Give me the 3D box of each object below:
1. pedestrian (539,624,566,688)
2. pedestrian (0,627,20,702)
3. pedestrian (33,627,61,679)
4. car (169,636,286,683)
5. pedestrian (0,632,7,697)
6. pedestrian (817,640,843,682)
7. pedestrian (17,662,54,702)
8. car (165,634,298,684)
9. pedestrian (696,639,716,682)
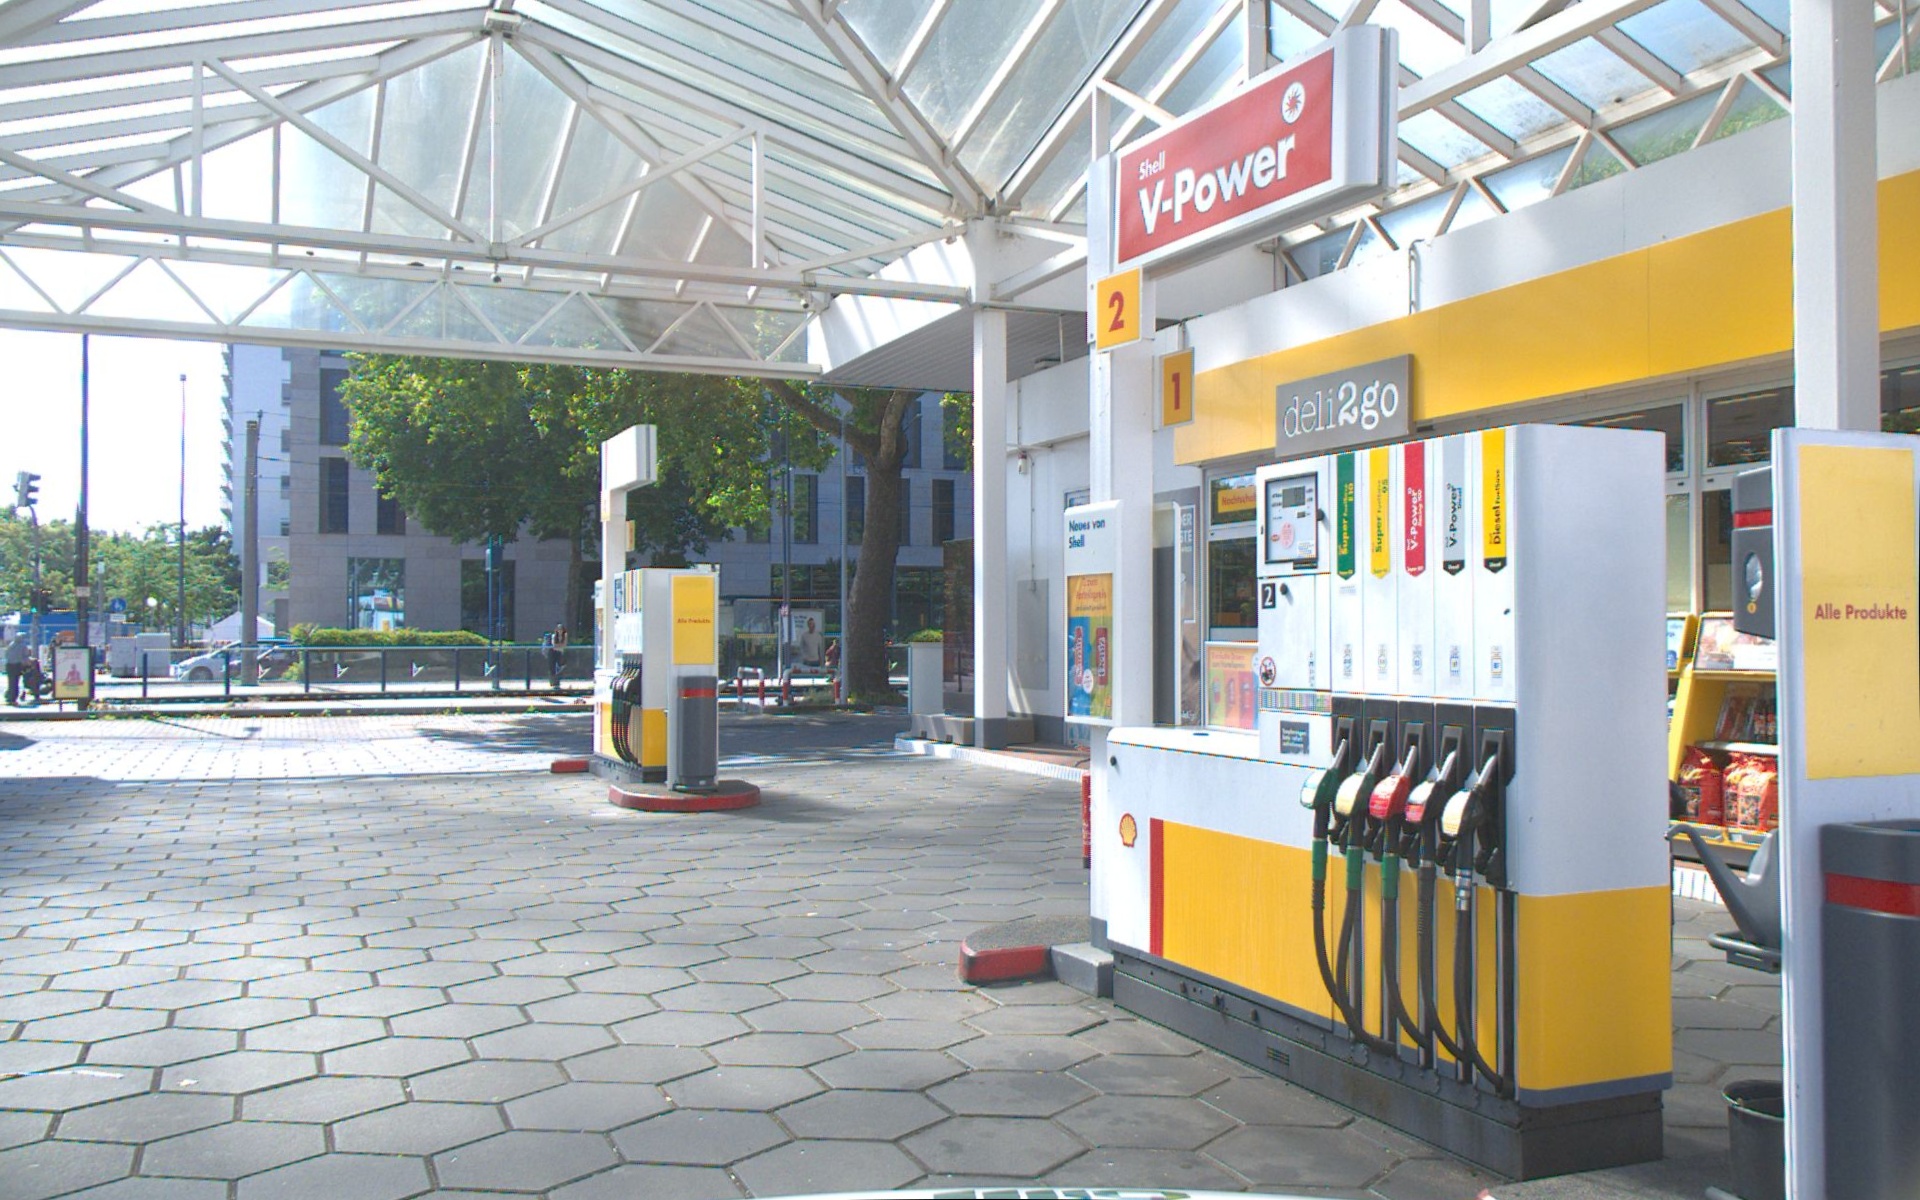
[{"bbox_3d":[-10.589,1.450,42.968,0.576,1.619,0.665,0,0,-24],"label":"pedestrian"},{"bbox_3d":[-21.942,1.473,37.763,0.771,1.712,0.496,1,-2,-38],"label":"pedestrian"},{"bbox_3d":[-27.773,1.600,50.310,0.639,1.567,0.501,0,-1,-14],"label":"pedestrian"},{"bbox_3d":[-25.573,2.042,57.738,3.641,1.579,1.577,0,-1,-29],"label":"car"},{"bbox_3d":[-25.898,1.705,43.899,0.914,1.712,0.502,0,-1,-8],"label":"pedestrian"},{"bbox_3d":[-3.645,1.710,46.353,0.618,1.158,0.521,0,-1,-17],"label":"pedestrian"},{"bbox_3d":[-21.364,1.880,38.217,0.686,0.896,0.496,1,-2,-39],"label":"pedestrian"},{"bbox_3d":[-24.214,1.929,54.983,3.943,1.579,1.687,0,-1,-29],"label":"car"},{"bbox_3d":[-6.889,1.633,44.847,0.491,1.158,0.521,0,-1,-17],"label":"pedestrian"}]
